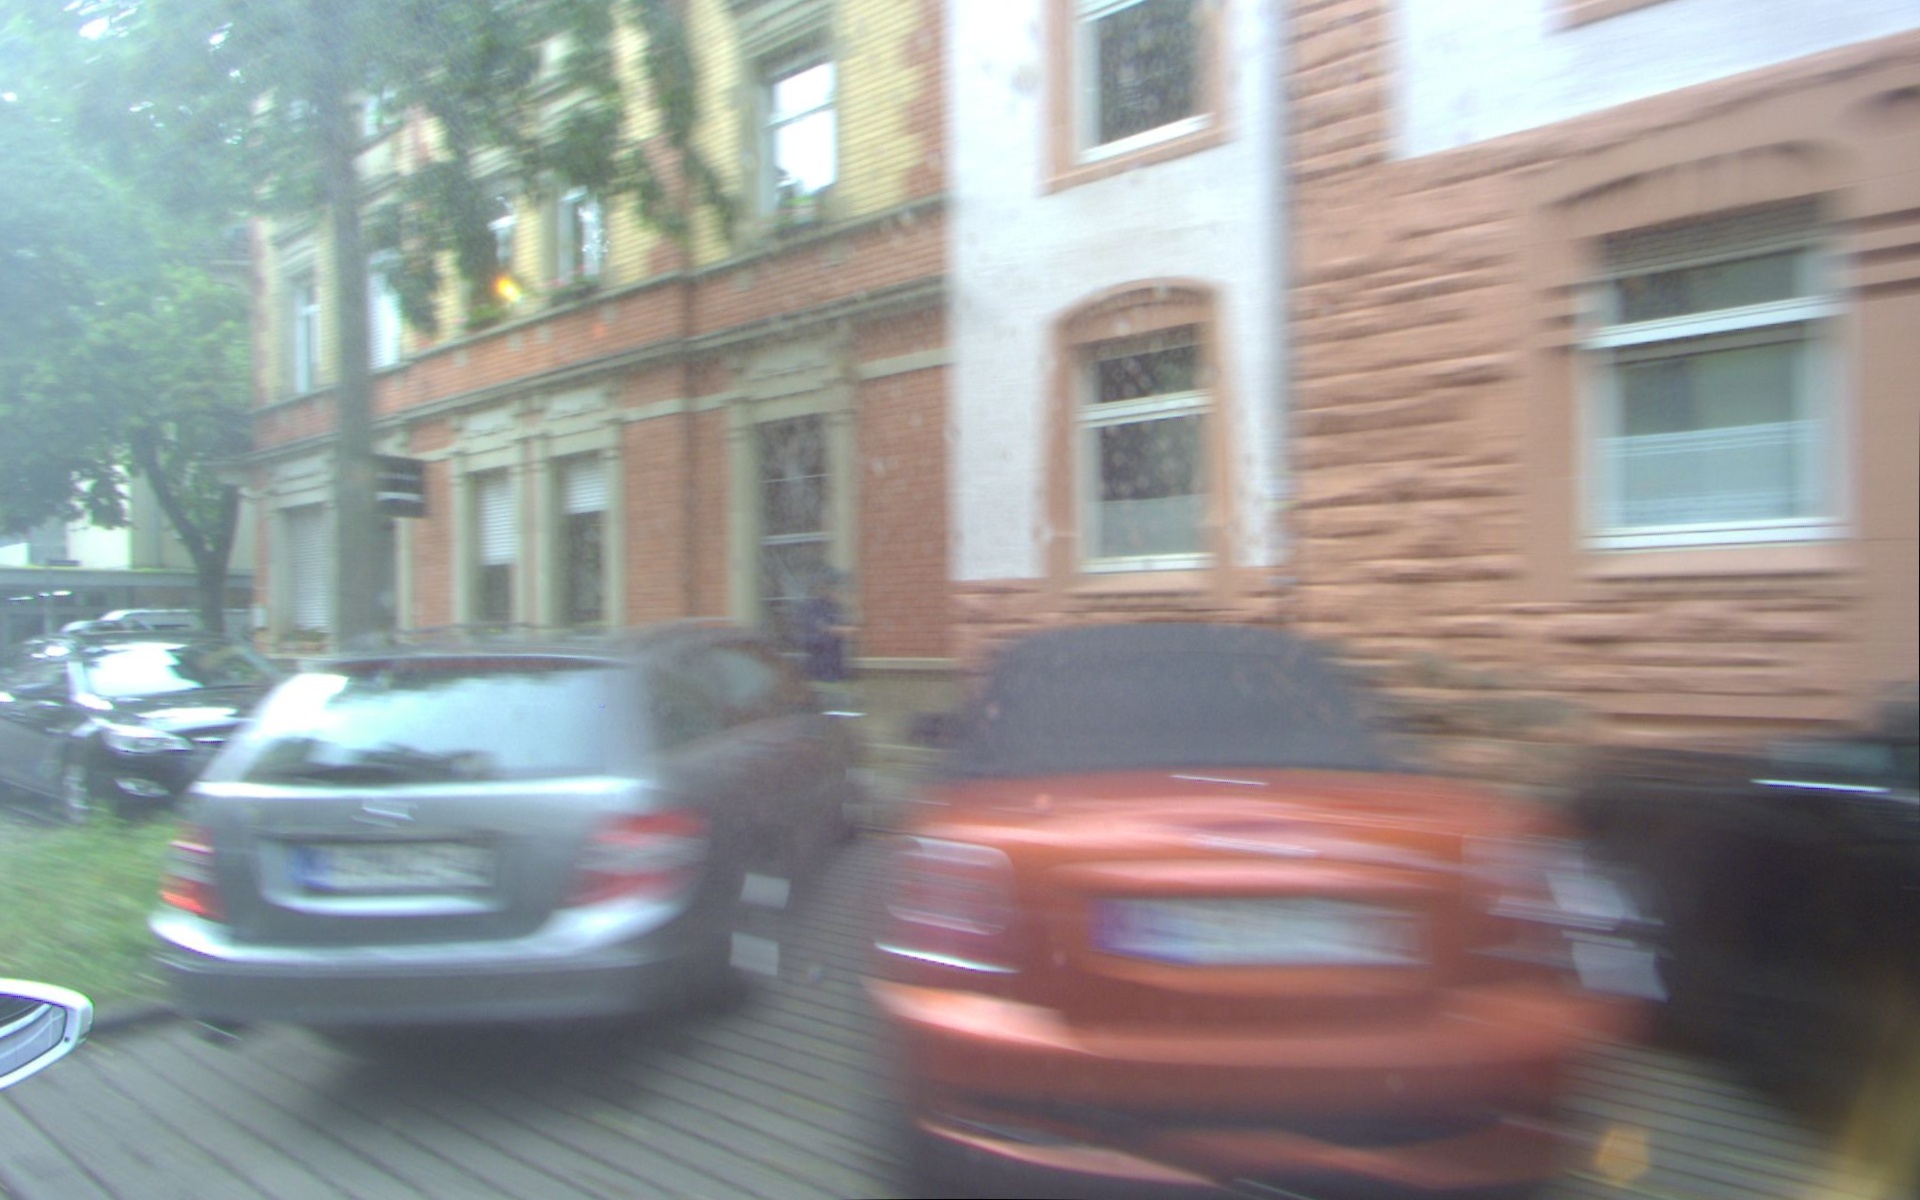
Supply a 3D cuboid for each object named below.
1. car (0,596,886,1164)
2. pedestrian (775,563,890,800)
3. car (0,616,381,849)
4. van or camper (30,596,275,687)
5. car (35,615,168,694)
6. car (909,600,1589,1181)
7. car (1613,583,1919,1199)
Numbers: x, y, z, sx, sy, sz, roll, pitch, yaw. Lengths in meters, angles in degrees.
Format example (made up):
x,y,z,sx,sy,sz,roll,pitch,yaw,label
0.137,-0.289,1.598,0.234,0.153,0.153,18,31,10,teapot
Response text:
x,y,z,sx,sy,sz,roll,pitch,yaw,label
-1.557,0.745,4.864,1.724,1.446,4.443,-2,1,4,car
-0.998,0.614,7.865,0.654,1.756,0.596,-1,0,33,pedestrian
-7.049,0.944,8.684,4.419,1.506,1.759,-1,1,35,car
-25.177,1.202,31.439,2.111,2.528,5.742,3,2,42,van or camper
-21.678,1.328,25.249,3.949,1.842,1.764,-1,-1,37,car
0.813,0.770,4.492,1.712,1.454,3.885,0,-1,3,car
2.907,0.681,1.427,1.672,1.485,3.695,-1,-1,3,car
